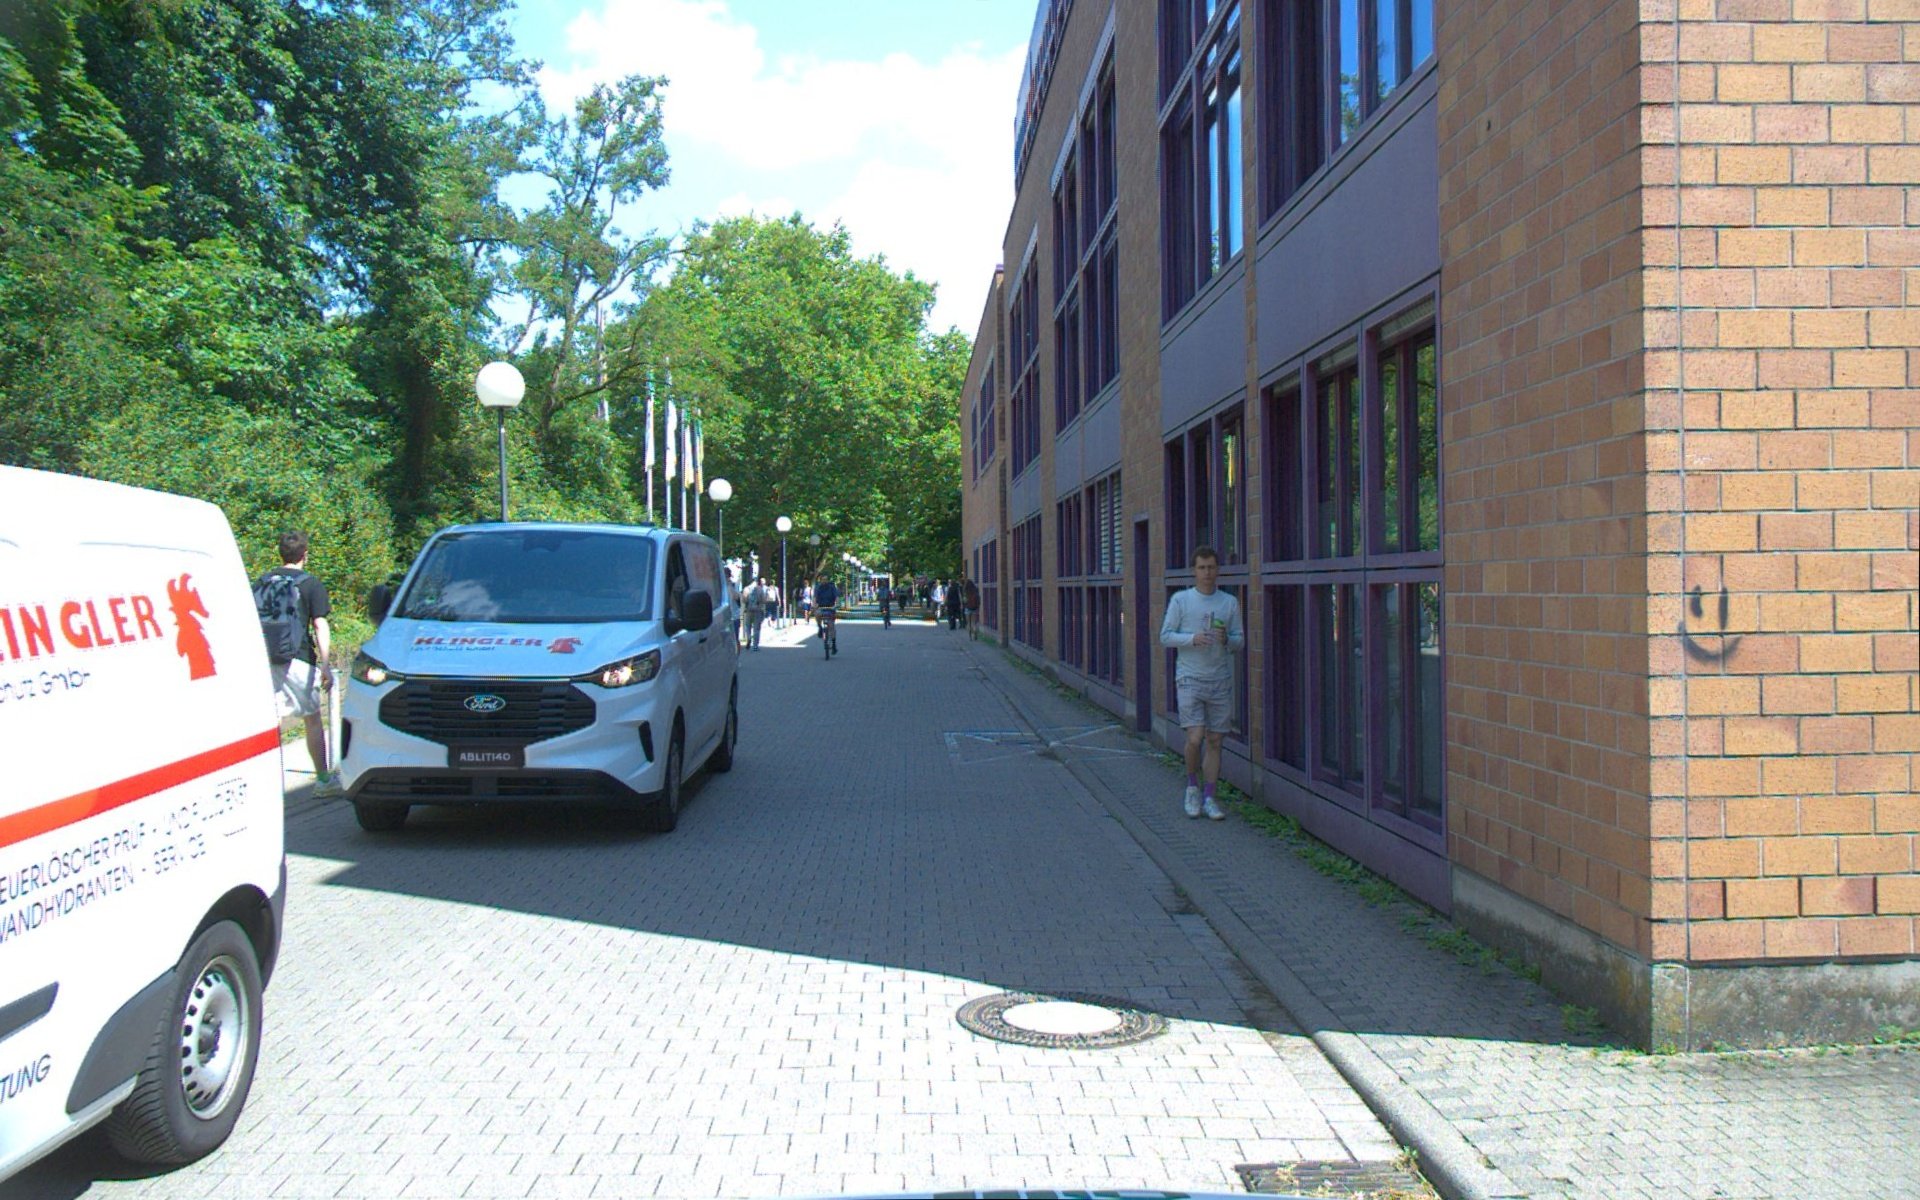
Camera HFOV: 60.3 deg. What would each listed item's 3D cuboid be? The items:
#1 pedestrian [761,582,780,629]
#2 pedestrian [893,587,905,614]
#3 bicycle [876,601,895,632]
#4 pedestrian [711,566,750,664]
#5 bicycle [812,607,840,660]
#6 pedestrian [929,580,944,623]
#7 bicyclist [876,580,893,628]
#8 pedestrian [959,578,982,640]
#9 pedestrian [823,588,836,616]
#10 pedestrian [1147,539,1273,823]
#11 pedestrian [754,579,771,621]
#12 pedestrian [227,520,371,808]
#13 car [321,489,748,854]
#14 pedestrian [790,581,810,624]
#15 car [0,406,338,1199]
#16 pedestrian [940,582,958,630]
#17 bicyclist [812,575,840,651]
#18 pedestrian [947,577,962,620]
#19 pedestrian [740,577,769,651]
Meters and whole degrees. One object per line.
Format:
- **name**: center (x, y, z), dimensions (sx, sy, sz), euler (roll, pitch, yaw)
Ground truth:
- **pedestrian**: center (-6.990, 0.211, 61.110), dimensions (0.574, 1.702, 0.699), euler (-2, -1, -1)
- **pedestrian**: center (-3.903, 0.030, 105.641), dimensions (0.710, 1.702, 0.748), euler (-2, -1, -1)
- **bicycle**: center (-2.732, 0.605, 60.526), dimensions (0.575, 1.102, 1.905), euler (-1, 0, -5)
- **pedestrian**: center (-4.311, 0.287, 31.109), dimensions (0.574, 1.796, 0.699), euler (-2, -1, -1)
- **bicycle**: center (-2.872, 0.699, 35.384), dimensions (0.575, 1.102, 1.812), euler (-1, 0, -5)
- **pedestrian**: center (-1.096, 0.093, 76.473), dimensions (0.640, 1.956, 0.817), euler (-2, -1, -1)
- **bicyclist**: center (-2.757, 0.137, 60.730), dimensions (0.575, 1.746, 0.665), euler (-1, 0, -5)
- **pedestrian**: center (0.284, 0.247, 46.445), dimensions (0.574, 1.702, 0.699), euler (-2, -1, -1)
- **pedestrian**: center (-8.040, 0.123, 102.044), dimensions (0.710, 1.702, 0.748), euler (-2, -1, -1)
- **pedestrian**: center (1.613, 0.509, 10.767), dimensions (0.669, 1.778, 0.783), euler (0, -1, -2)
- **pedestrian**: center (-8.153, 0.015, 68.292), dimensions (0.574, 1.702, 0.699), euler (-2, -1, -1)
- **pedestrian**: center (-4.448, 0.421, 11.171), dimensions (0.669, 1.876, 0.783), euler (0, -1, -2)
- **car**: center (-2.710, 0.390, 11.854), dimensions (1.846, 2.008, 5.212), euler (-1, 0, -2)
- **pedestrian**: center (-6.453, 0.122, 66.680), dimensions (0.710, 1.702, 0.748), euler (-2, -1, -1)
- **car**: center (-2.731, 0.537, 2.718), dimensions (1.754, 1.792, 4.480), euler (-1, 0, -1)
- **pedestrian**: center (-0.402, 0.210, 59.723), dimensions (0.574, 1.702, 0.817), euler (-2, -1, -1)
- **bicyclist**: center (-2.869, 0.269, 35.355), dimensions (0.575, 1.600, 0.828), euler (-1, 0, -5)
- **pedestrian**: center (-0.270, -0.051, 76.586), dimensions (0.640, 1.956, 0.817), euler (-2, -1, -1)
- **pedestrian**: center (-4.884, 0.336, 39.330), dimensions (0.574, 1.702, 0.699), euler (-2, -1, -1)
